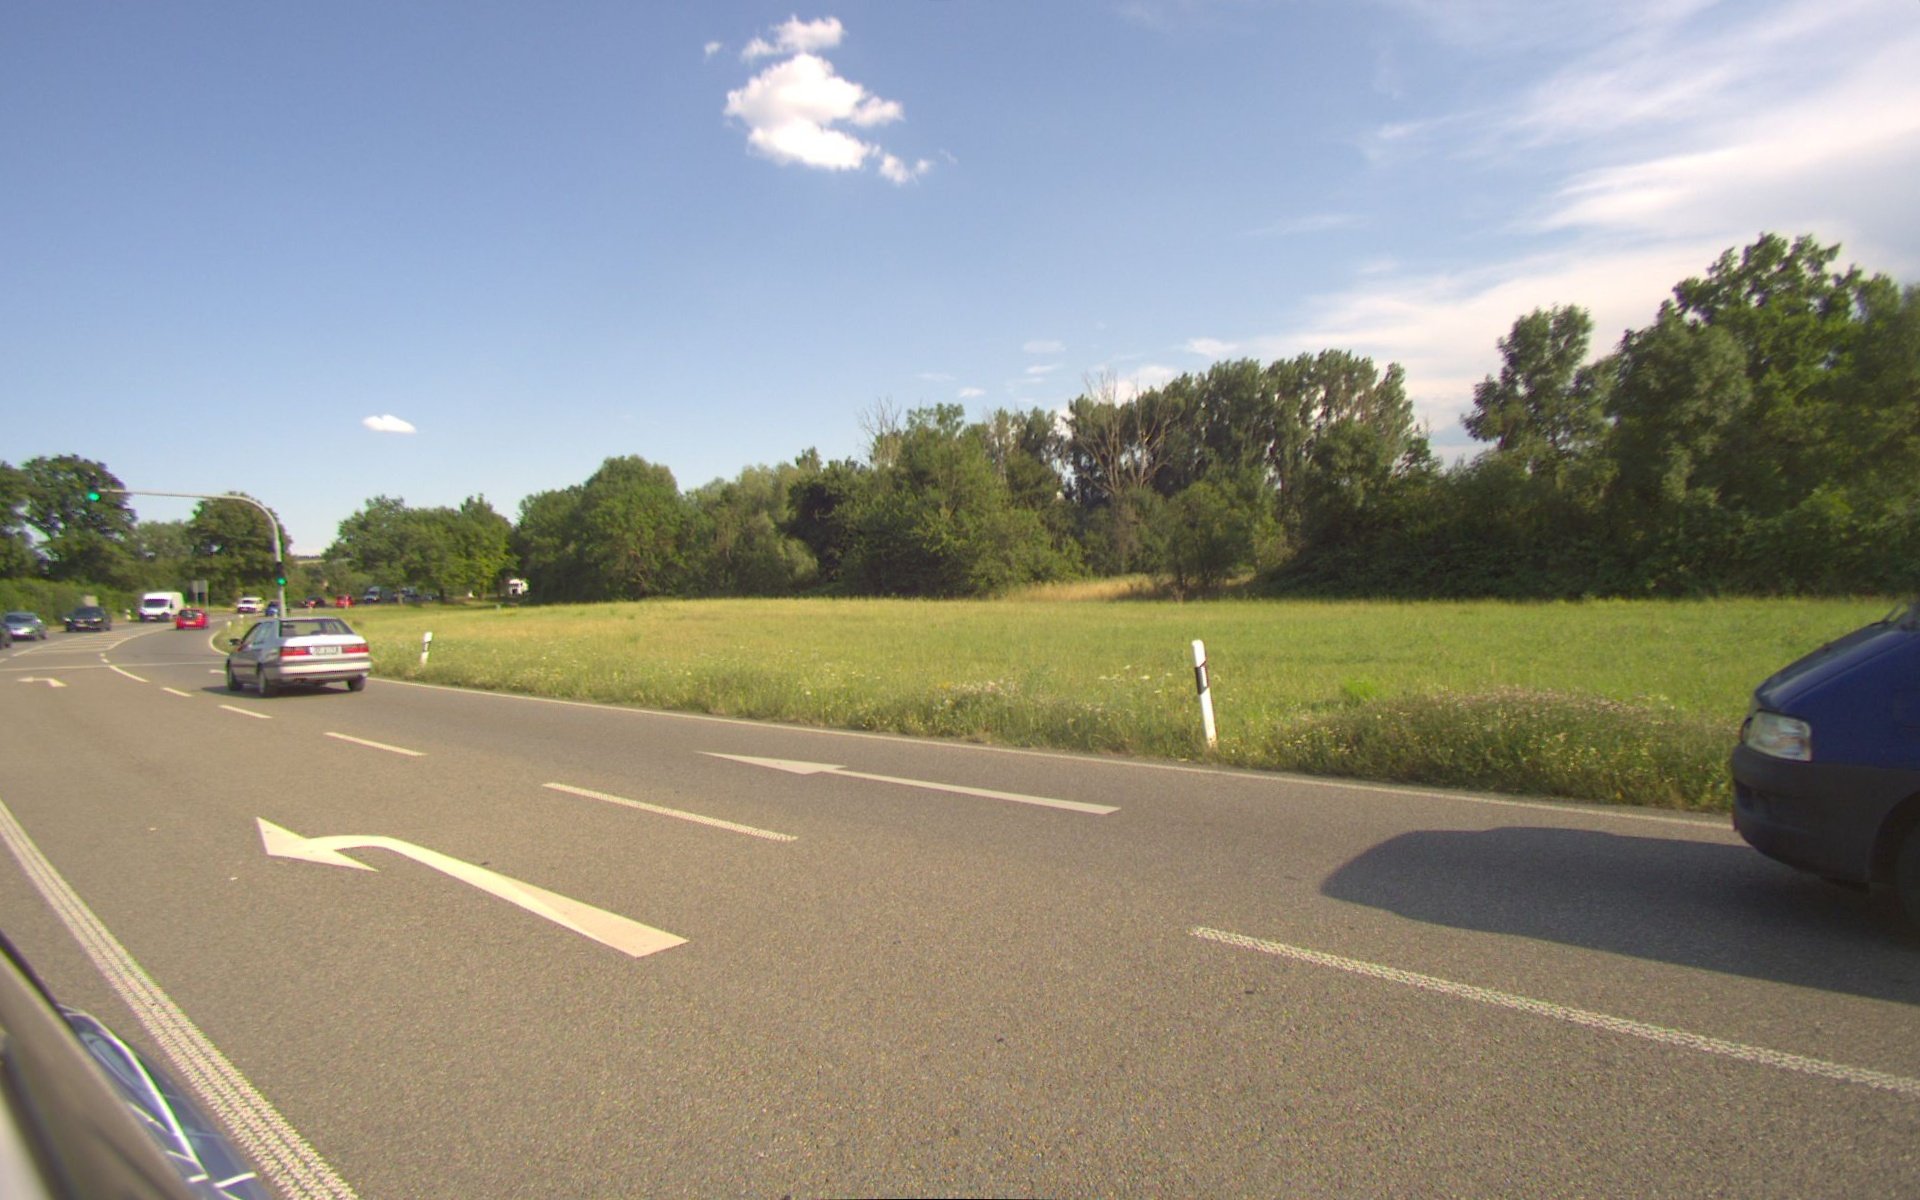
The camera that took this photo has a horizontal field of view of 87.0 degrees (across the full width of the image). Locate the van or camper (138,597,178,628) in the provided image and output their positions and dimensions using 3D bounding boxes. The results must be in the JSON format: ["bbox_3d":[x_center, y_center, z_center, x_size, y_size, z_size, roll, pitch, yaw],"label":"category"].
[{"bbox_3d":[-69.456,1.088,87.702,2.001,2.494,5.092,-3,1,-31],"label":"van or camper"}]

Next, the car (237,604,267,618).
[{"bbox_3d":[-81.753,1.246,116.865,1.647,1.490,3.504,-3,1,-15],"label":"car"}]

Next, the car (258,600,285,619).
[{"bbox_3d":[-72.112,0.998,106.052,1.700,1.897,4.349,0,-1,-26],"label":"car"}]

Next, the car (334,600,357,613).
[{"bbox_3d":[-85.544,0.928,140.975,1.854,1.789,4.335,0,-1,-18],"label":"car"}]

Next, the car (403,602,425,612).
[{"bbox_3d":[-91.700,1.139,169.958,1.856,1.598,4.338,0,-1,-8],"label":"car"}]

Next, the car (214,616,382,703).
[{"bbox_3d":[-12.619,1.053,19.191,4.178,1.439,1.688,-1,0,43],"label":"car"}]

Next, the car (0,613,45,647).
[{"bbox_3d":[-48.200,1.507,51.790,1.609,1.570,3.426,1,0,-35],"label":"car"}]

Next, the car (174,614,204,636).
[{"bbox_3d":[-53.356,1.733,70.052,1.564,1.478,3.615,0,-2,-36],"label":"car"}]

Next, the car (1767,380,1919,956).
[{"bbox_3d":[5.711,0.205,3.269,4.776,2.153,1.978,-1,0,41],"label":"car"}]

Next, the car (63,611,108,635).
[{"bbox_3d":[-56.412,1.502,65.349,1.581,1.490,3.627,1,-2,-31],"label":"car"}]

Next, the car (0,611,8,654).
[{"bbox_3d":[-41.787,1.358,43.013,1.649,1.741,3.674,2,-1,-40],"label":"car"}]
